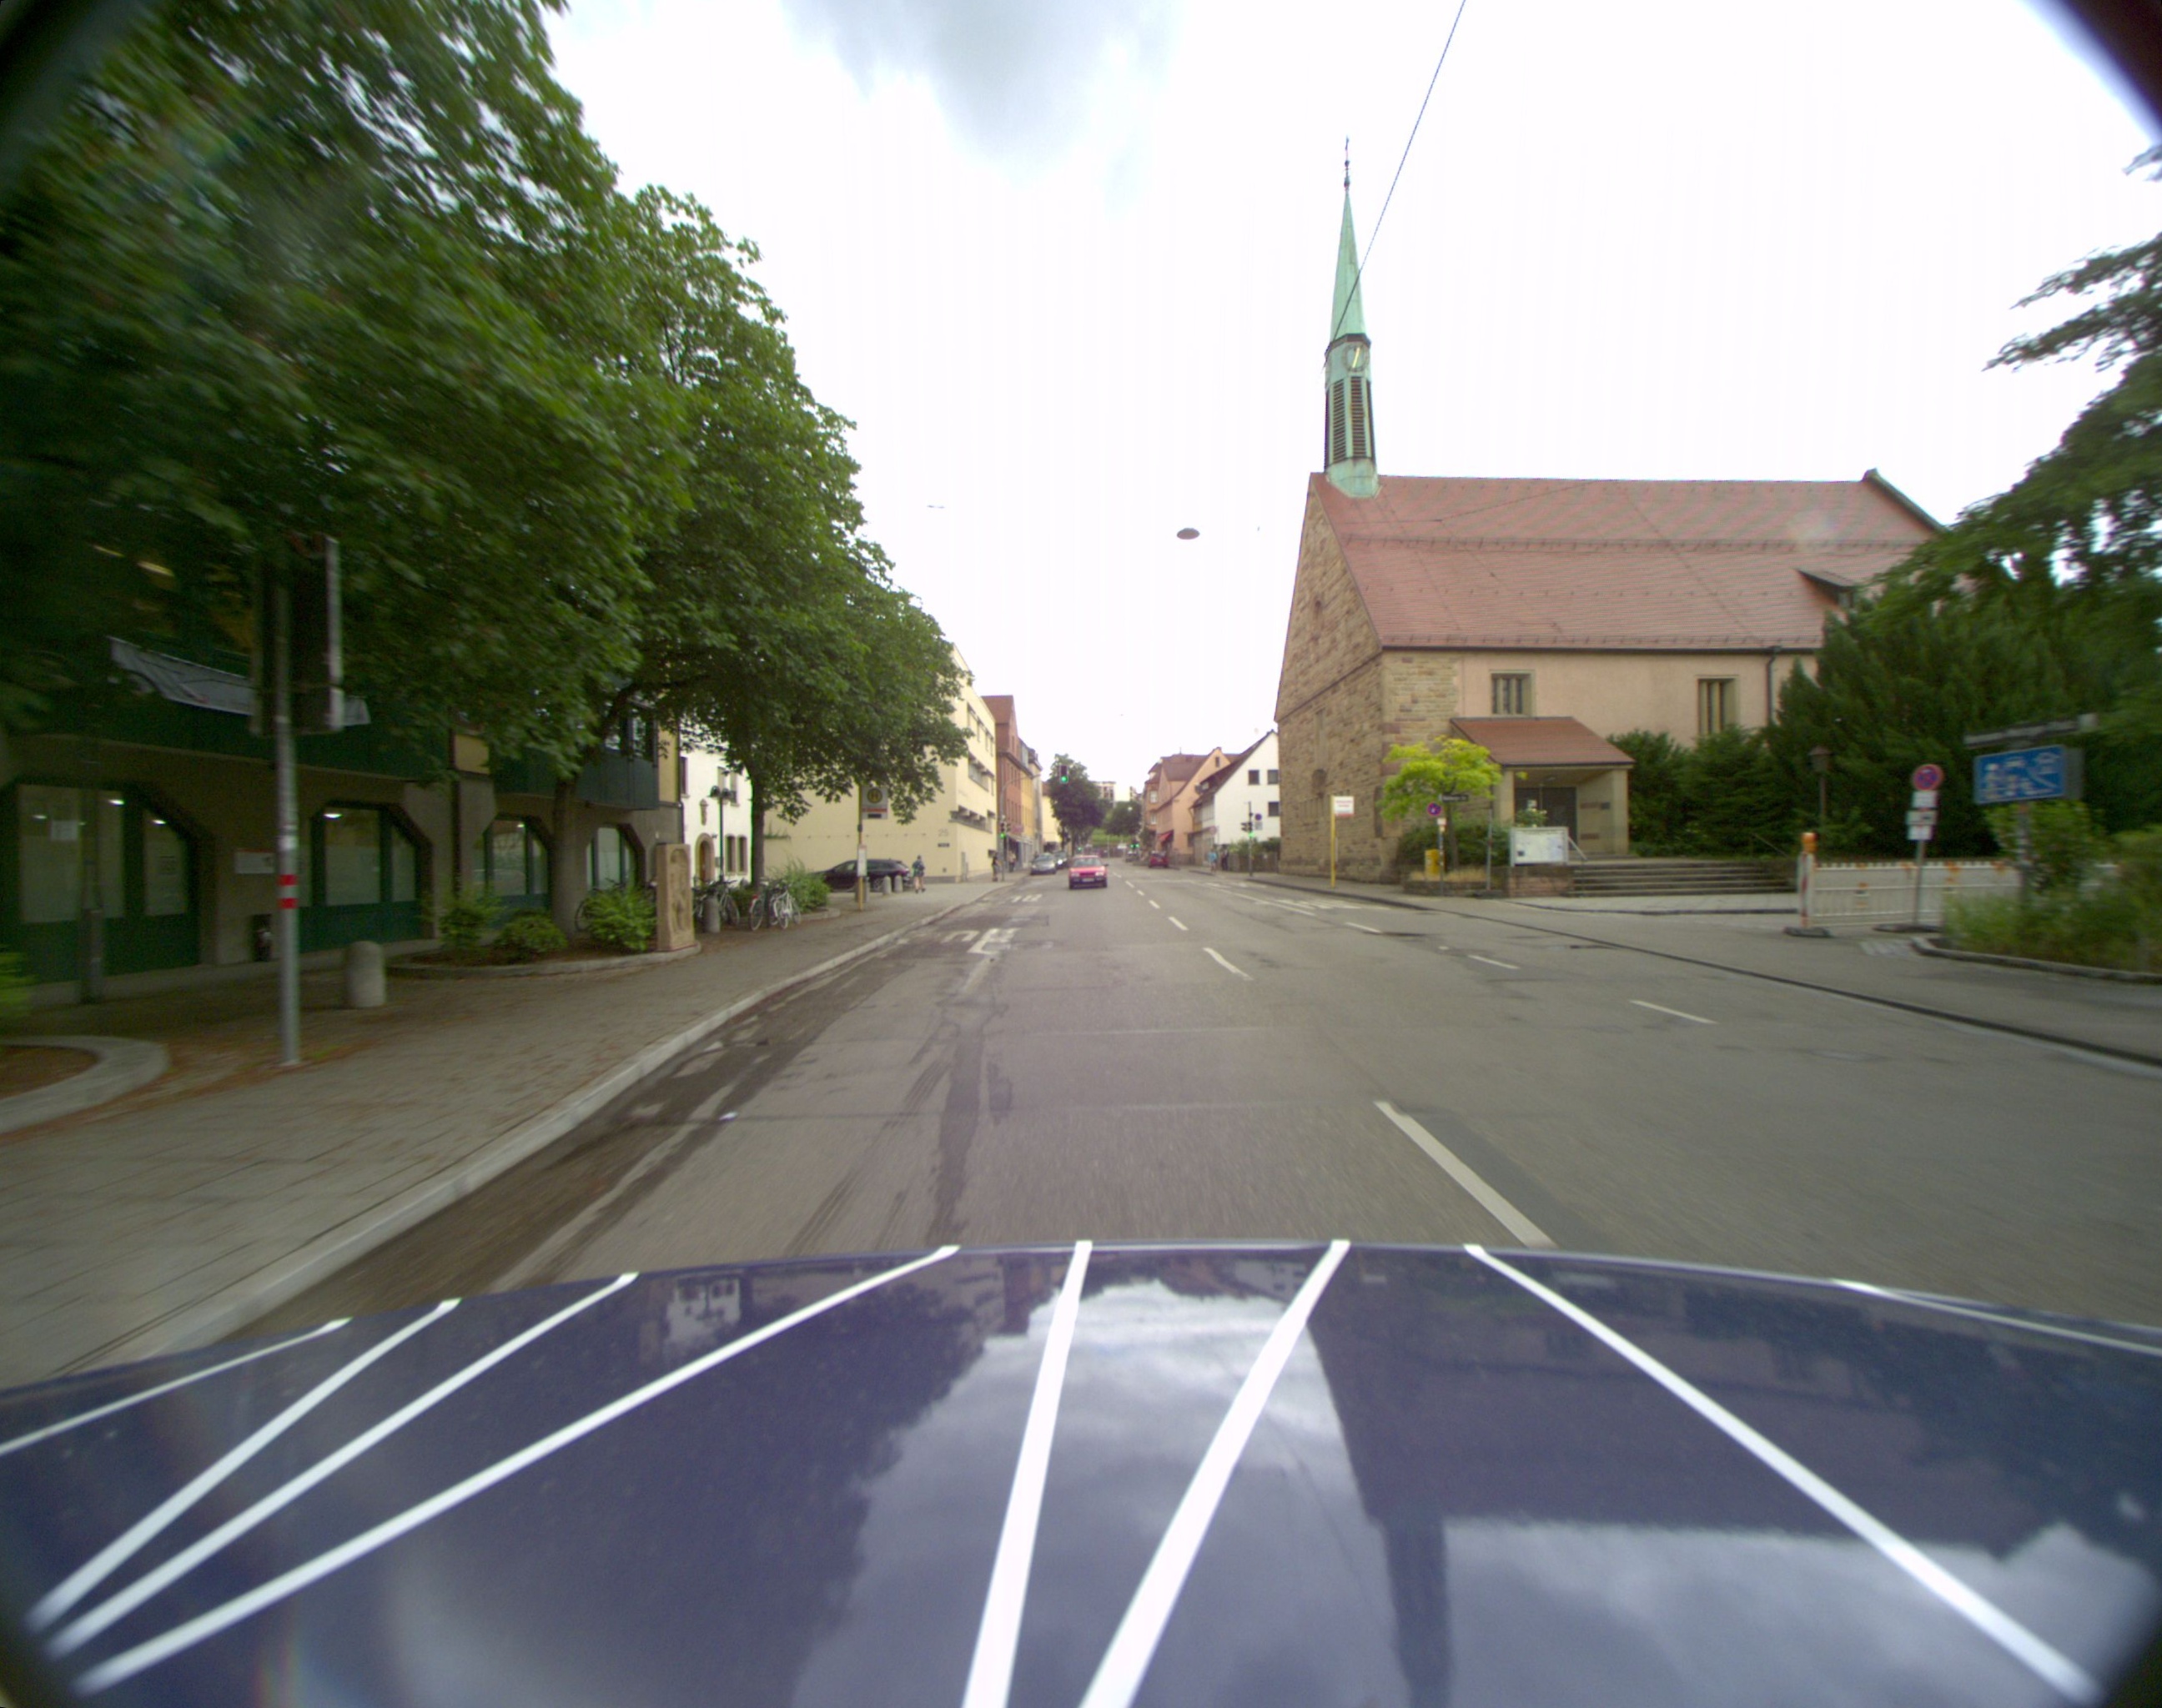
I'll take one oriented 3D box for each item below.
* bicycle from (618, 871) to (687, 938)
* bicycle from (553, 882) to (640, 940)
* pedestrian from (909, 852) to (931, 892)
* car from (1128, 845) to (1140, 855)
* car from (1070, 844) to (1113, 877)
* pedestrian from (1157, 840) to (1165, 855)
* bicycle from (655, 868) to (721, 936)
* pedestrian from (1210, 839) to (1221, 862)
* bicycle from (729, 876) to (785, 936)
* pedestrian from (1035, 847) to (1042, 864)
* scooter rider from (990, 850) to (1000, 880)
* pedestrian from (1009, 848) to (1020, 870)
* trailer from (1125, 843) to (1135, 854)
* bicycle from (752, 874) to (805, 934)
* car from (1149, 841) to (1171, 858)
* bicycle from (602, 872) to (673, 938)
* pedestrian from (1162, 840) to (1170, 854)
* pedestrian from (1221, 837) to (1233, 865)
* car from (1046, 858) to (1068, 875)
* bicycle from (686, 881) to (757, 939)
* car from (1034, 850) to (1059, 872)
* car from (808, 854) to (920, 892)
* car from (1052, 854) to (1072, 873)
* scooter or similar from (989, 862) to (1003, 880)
[{"bbox_3d":[-9.336,1.061,16.639,0.333,1.293,1.958,-2,1,0],"label":"bicycle"},{"bbox_3d":[-10.449,1.194,16.498,0.546,1.063,2.290,-1,1,-4],"label":"bicycle"},{"bbox_3d":[-6.903,0.758,32.560,0.603,1.706,0.860,-1,1,8],"label":"pedestrian"},{"bbox_3d":[8.847,-0.706,127.489,1.895,1.702,4.742,1,0,3],"label":"car"},{"bbox_3d":[0.537,0.262,33.995,1.626,1.387,4.001,-1,0,4],"label":"car"},{"bbox_3d":[9.418,-0.790,89.460,0.740,1.744,0.983,-2,1,2],"label":"pedestrian"},{"bbox_3d":[-8.312,0.981,16.168,0.333,1.293,1.958,-2,1,0],"label":"bicycle"},{"bbox_3d":[9.251,-0.252,52.150,0.572,1.545,0.697,-3,1,2],"label":"pedestrian"},{"bbox_3d":[-7.034,1.087,16.570,0.333,1.135,1.958,-2,1,0],"label":"bicycle"},{"bbox_3d":[-4.323,0.168,77.769,0.616,1.643,0.982,2,1,1],"label":"pedestrian"},{"bbox_3d":[-4.713,0.604,41.735,0.454,1.623,0.504,1,3,-13],"label":"scooter rider"},{"bbox_3d":[-4.975,0.393,57.077,0.702,1.639,0.888,0,1,1],"label":"pedestrian"},{"bbox_3d":[12.531,-1.329,194.540,2.450,2.788,6.304,0,1,4],"label":"trailer"},{"bbox_3d":[-6.611,1.058,16.673,0.333,1.134,1.958,-2,1,0],"label":"bicycle"},{"bbox_3d":[7.660,-0.468,73.647,1.707,1.565,4.450,1,1,1],"label":"car"},{"bbox_3d":[-9.680,1.076,16.665,0.333,1.293,1.958,-2,1,0],"label":"bicycle"},{"bbox_3d":[9.813,-0.834,88.139,0.732,1.619,0.758,-3,2,-2],"label":"pedestrian"},{"bbox_3d":[9.940,-0.221,51.681,0.572,1.837,0.697,-4,1,2],"label":"pedestrian"},{"bbox_3d":[-2.255,1.171,72.268,1.755,1.398,4.511,0,1,2],"label":"car"},{"bbox_3d":[-7.658,1.157,16.295,0.546,1.063,2.290,-1,1,-4],"label":"bicycle"},{"bbox_3d":[-2.567,0.526,57.161,1.716,1.551,3.785,-1,1,0],"label":"car"},{"bbox_3d":[-9.757,0.855,34.388,4.523,1.565,1.851,-1,2,-3],"label":"car"},{"bbox_3d":[-1.918,0.959,77.197,1.824,1.771,4.402,-2,1,0],"label":"car"},{"bbox_3d":[-4.685,0.935,41.783,0.663,0.940,0.819,1,3,-10],"label":"scooter or similar"}]
